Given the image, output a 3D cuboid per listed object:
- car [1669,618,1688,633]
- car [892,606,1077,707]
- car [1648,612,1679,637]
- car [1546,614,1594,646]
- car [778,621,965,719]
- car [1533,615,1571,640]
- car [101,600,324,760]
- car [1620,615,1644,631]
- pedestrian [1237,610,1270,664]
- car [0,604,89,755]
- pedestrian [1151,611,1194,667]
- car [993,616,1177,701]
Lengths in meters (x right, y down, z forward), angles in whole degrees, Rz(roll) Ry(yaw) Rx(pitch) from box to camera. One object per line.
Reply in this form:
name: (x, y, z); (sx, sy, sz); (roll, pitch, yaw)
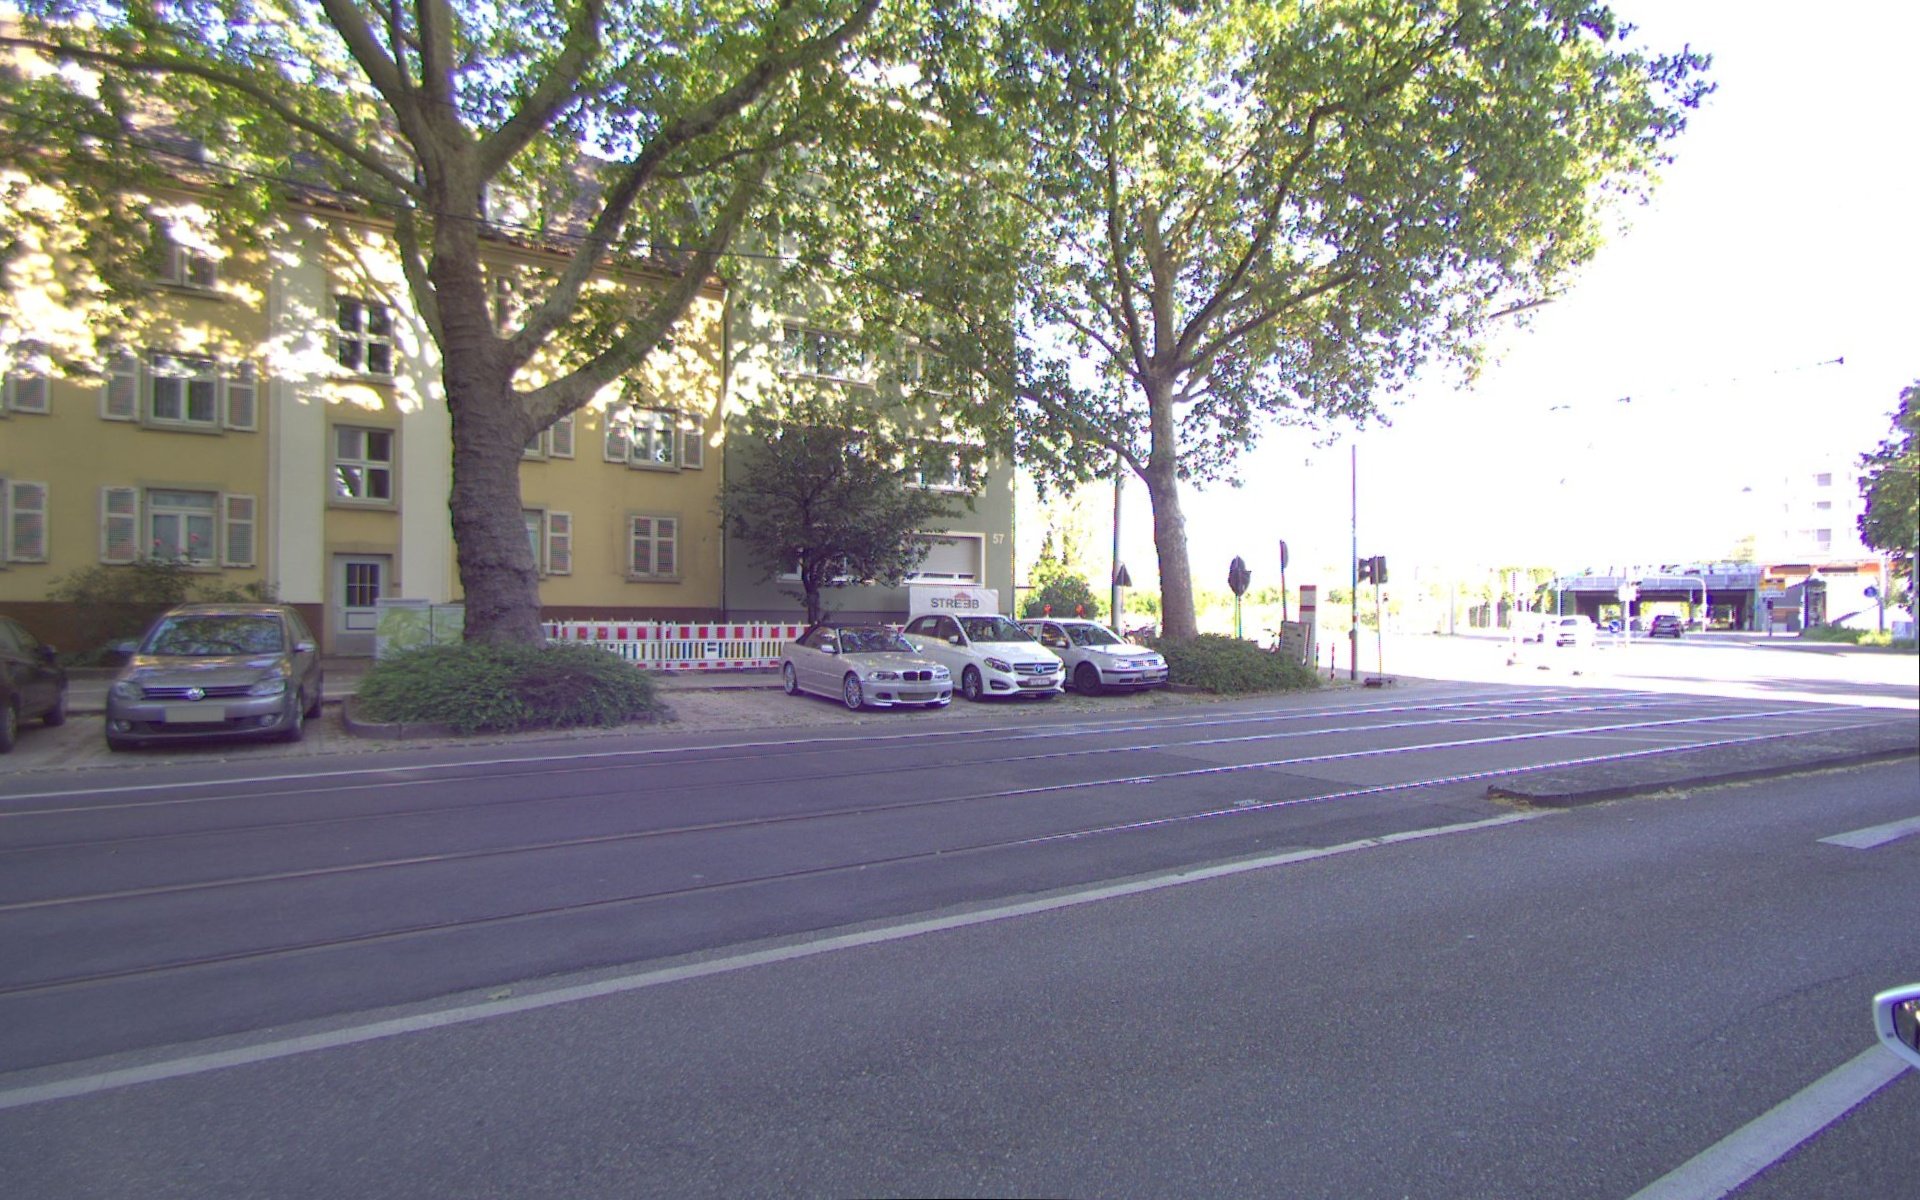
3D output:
car: (83.510, 2.980, 116.673); (1.731, 1.706, 3.729); (2, 0, 36)
car: (0.353, 0.982, 19.153); (1.651, 1.669, 3.949); (1, 0, -31)
car: (55.047, 1.892, 78.520); (1.884, 1.906, 4.828); (0, -1, 36)
car: (33.532, 1.629, 55.183); (1.860, 1.606, 3.823); (2, 0, 37)
car: (-1.647, 1.107, 17.308); (1.651, 1.370, 3.949); (1, 0, -31)
car: (40.979, 1.903, 69.454); (1.775, 1.684, 4.340); (0, -1, 37)
car: (-8.996, 0.831, 12.414); (1.652, 1.602, 3.953); (1, 0, -29)
car: (69.997, 2.415, 104.603); (1.860, 1.606, 3.823); (2, 0, 37)
pedestrian: (9.417, 1.162, 32.219); (0.761, 1.683, 0.954); (2, 0, 30)
car: (-11.462, 0.831, 11.383); (1.652, 1.518, 3.778); (1, 0, -29)
pedestrian: (6.470, 1.189, 30.599); (0.919, 1.669, 0.841); (2, 0, -30)
car: (2.444, 1.109, 20.528); (1.651, 1.473, 3.949); (1, 0, -31)
